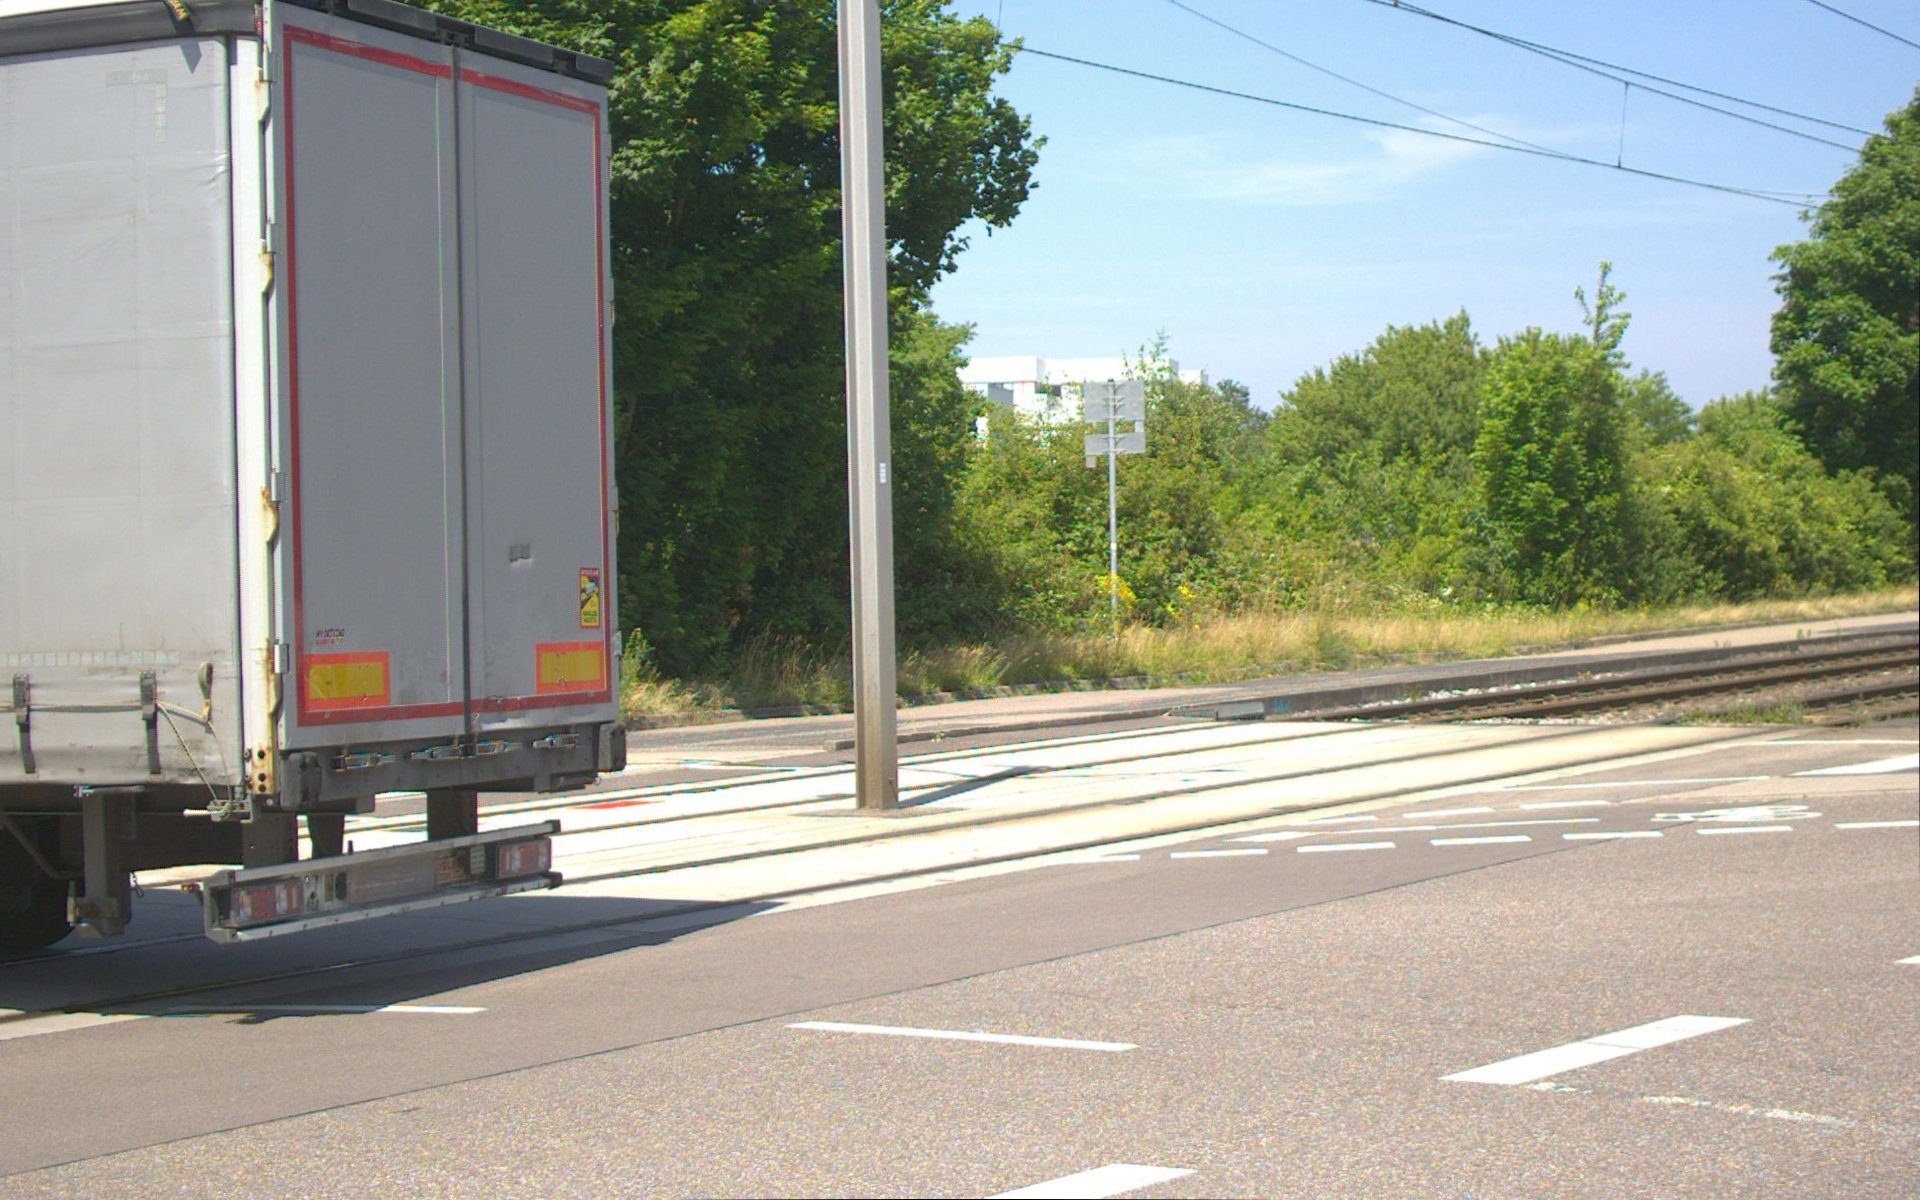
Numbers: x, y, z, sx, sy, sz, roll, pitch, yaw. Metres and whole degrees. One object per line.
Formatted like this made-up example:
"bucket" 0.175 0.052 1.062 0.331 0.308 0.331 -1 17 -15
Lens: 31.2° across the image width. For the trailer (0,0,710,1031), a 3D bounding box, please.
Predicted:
"trailer" -6.189 -0.502 14.949 9.788 4.056 3.083 -1 0 23
